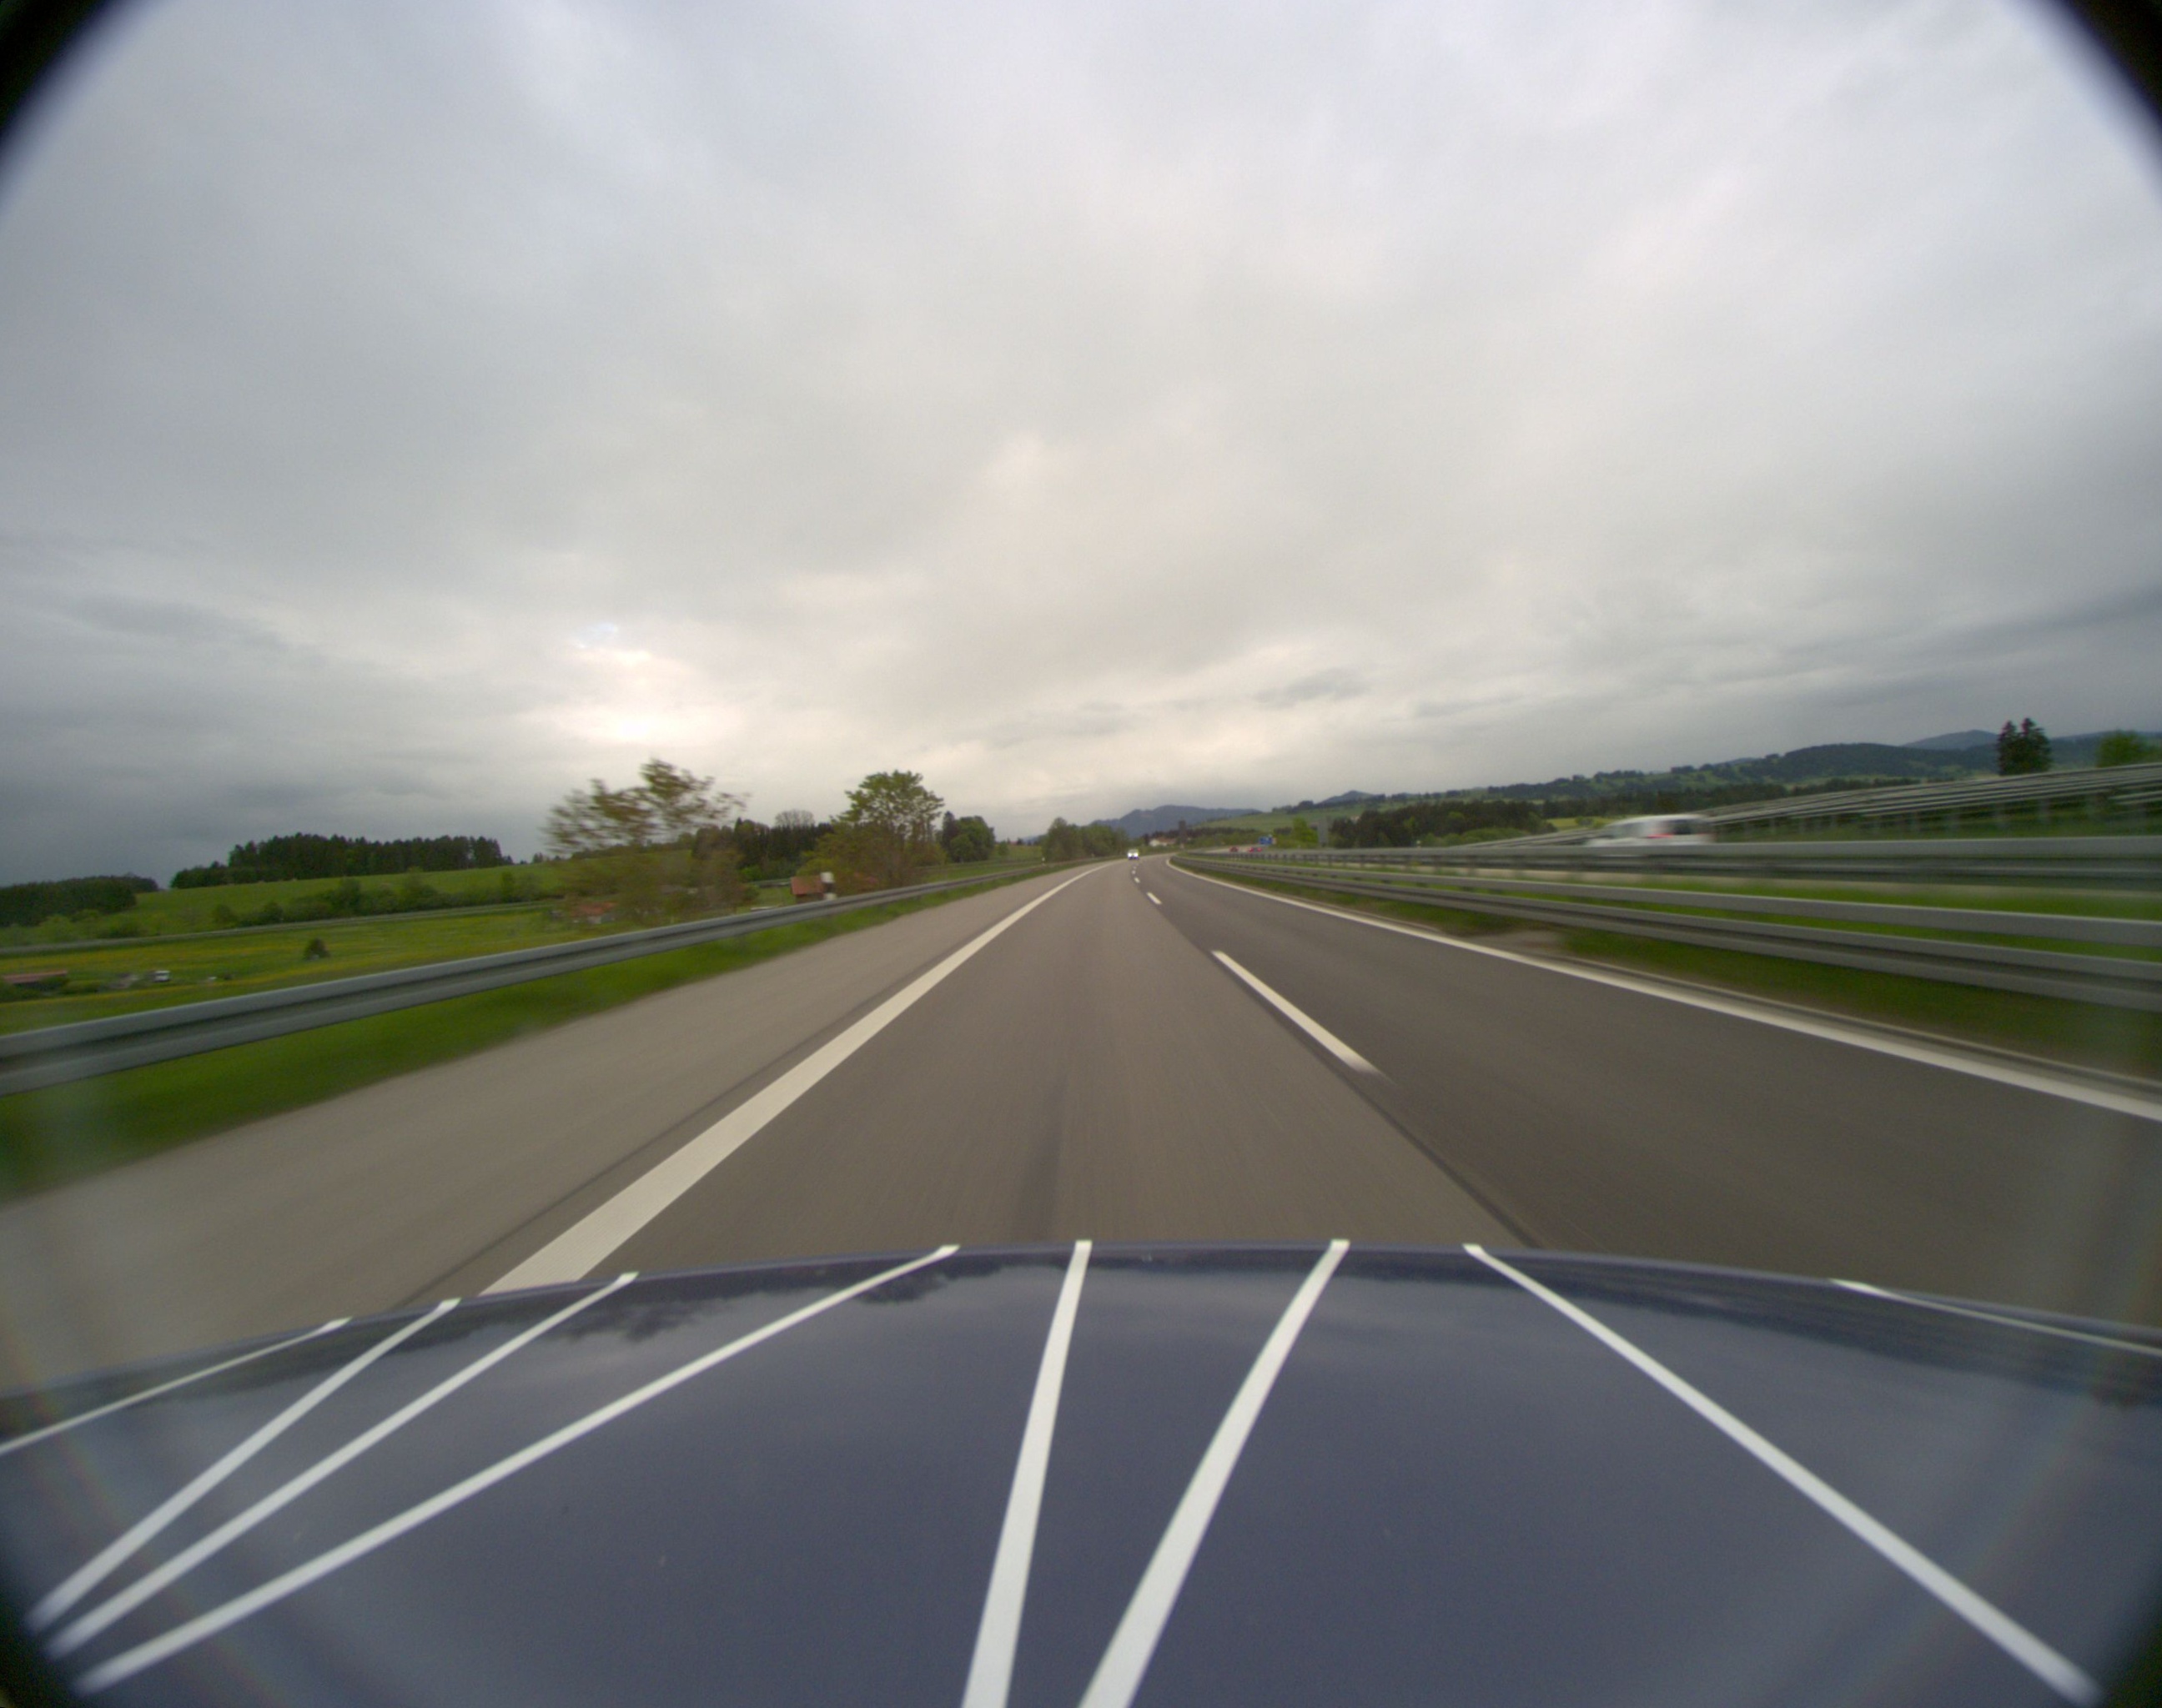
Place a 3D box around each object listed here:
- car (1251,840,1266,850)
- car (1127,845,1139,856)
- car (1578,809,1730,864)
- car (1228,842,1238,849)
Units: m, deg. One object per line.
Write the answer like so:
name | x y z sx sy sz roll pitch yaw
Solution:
car | 31.099 -1.558 133.197 1.997 1.431 5.003 -5 0 9
car | 9.791 -0.658 143.062 2.020 1.899 4.222 -2 0 6
car | 20.589 -0.583 27.596 1.998 1.676 4.627 -5 0 1
car | 34.012 -1.942 169.798 1.997 1.409 4.003 -5 0 11
